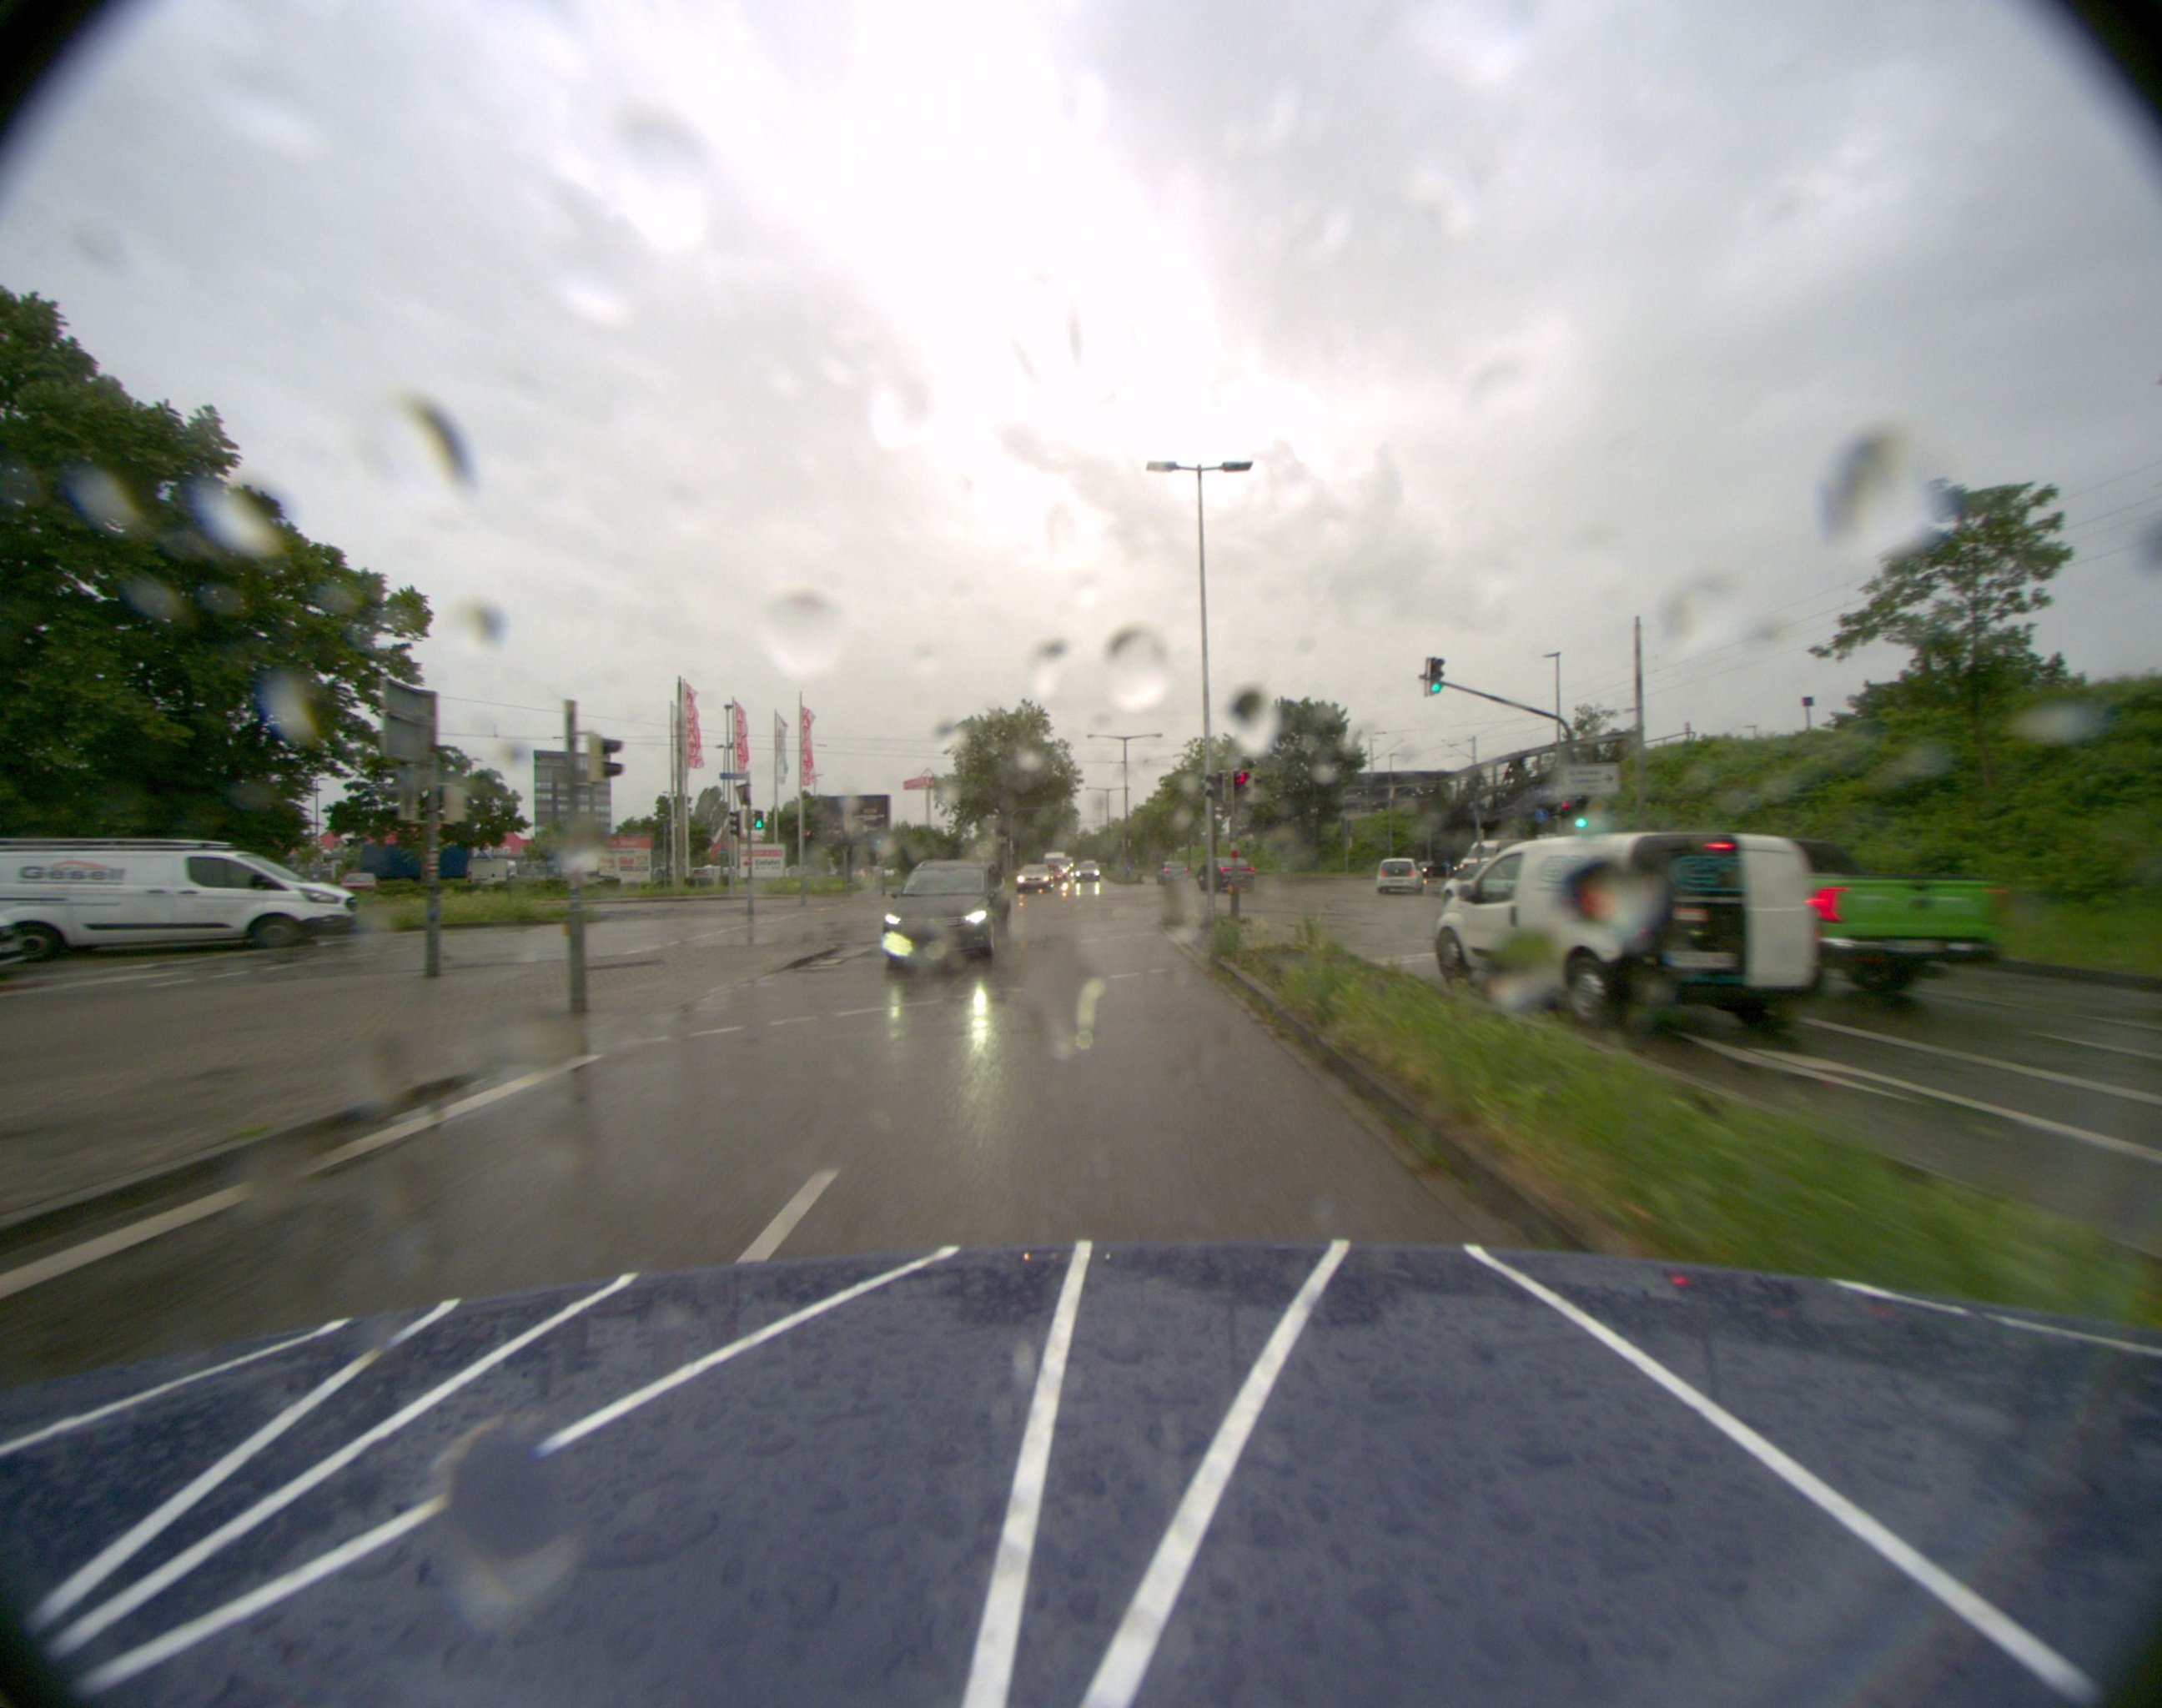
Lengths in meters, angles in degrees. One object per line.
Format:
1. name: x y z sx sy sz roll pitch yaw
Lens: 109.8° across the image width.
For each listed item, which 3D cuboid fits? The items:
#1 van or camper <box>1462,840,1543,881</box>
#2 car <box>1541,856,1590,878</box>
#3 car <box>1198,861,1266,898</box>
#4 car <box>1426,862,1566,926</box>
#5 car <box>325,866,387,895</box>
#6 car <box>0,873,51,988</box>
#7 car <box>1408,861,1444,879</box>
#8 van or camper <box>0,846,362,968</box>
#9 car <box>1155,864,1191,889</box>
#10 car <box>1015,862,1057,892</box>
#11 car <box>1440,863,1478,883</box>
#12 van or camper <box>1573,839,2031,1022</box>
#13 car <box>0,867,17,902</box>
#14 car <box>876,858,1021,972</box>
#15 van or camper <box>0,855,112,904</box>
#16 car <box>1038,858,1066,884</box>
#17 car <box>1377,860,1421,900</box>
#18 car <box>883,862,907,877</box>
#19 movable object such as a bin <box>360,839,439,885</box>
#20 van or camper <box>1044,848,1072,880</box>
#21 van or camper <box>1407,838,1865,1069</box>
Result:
1. van or camper: 28.971 0.399 52.102 6.941 2.646 1.995 -1 0 -35
2. car: 35.795 0.910 56.145 3.812 1.545 1.690 -1 0 -35
3. car: 7.083 1.143 36.033 1.977 1.592 4.386 0 0 -5
4. car: 11.040 1.002 20.529 1.676 1.534 3.787 0 0 0
5. car: -42.350 1.511 44.378 3.988 1.565 2.004 -1 0 37
6. car: -18.006 1.143 10.280 4.470 1.662 1.863 0 0 -37
7. car: 27.678 1.263 60.894 1.689 1.339 3.476 0 0 41
8. van or camper: -17.457 0.903 14.733 4.918 2.076 1.863 0 0 -37
9. car: 6.111 1.485 50.753 1.697 1.592 3.622 0 0 -4
10. car: -2.280 1.166 39.766 1.807 1.422 4.387 -1 0 1
11. car: 28.188 1.378 56.659 1.689 1.339 3.476 0 0 41
12. van or camper: 8.389 0.757 9.509 1.705 1.774 4.220 0 0 0
13. car: -53.603 1.494 36.363 1.870 1.718 3.957 0 0 -34
14. car: -2.248 0.977 14.038 1.861 1.716 4.190 -2 0 0
15. van or camper: -50.767 1.215 37.646 2.138 2.286 4.455 0 0 -34
16. car: -2.077 1.181 55.230 1.699 1.759 4.558 -1 0 2
17. car: 13.877 1.096 33.220 1.650 1.592 3.572 0 0 22
18. car: -21.267 1.758 86.819 1.822 1.610 3.999 -1 0 -1
19. movable object such as a bin: -52.604 0.581 58.782 4.260 3.265 2.321 -3 1 -37
20. van or camper: -1.950 0.855 66.478 2.100 2.579 4.776 -2 0 2
21. van or camper: 5.095 0.767 7.800 1.733 1.731 4.000 1 0 0
